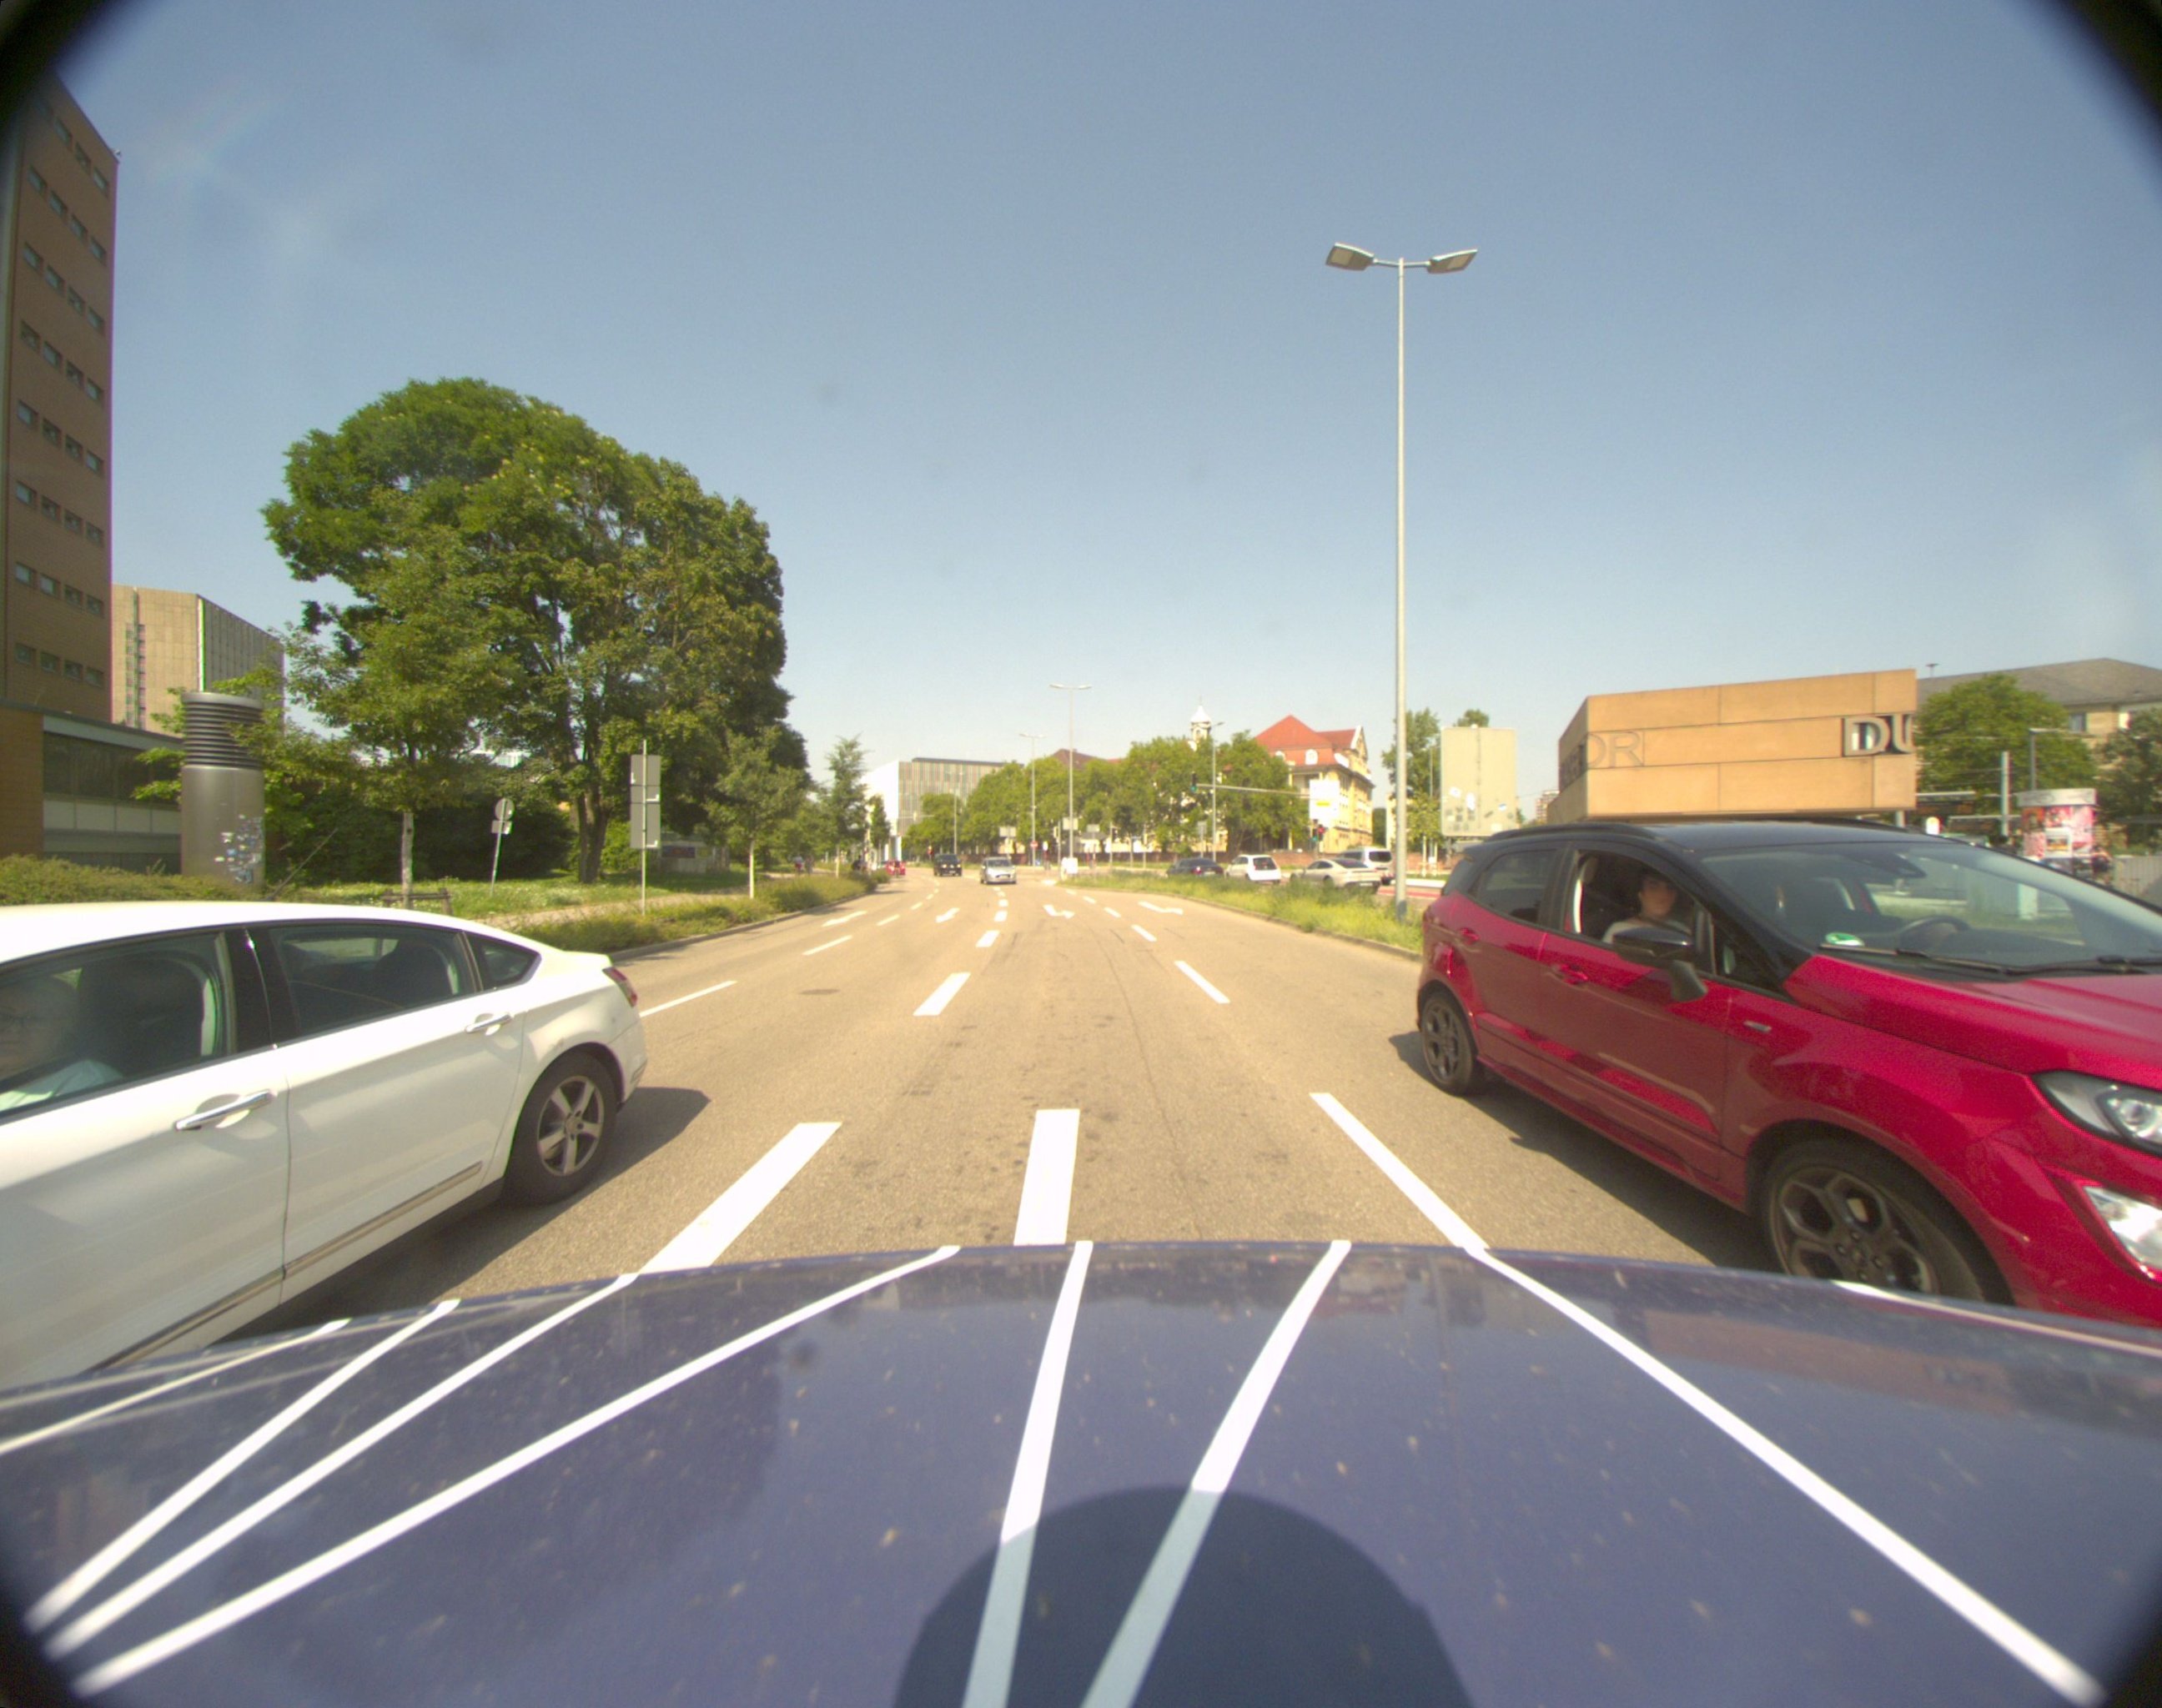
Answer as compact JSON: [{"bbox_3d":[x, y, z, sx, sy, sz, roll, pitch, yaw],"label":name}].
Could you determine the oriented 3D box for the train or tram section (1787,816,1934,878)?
[{"bbox_3d":[49.536,-0.405,48.882,2.698,3.418,13.446,0,0,28],"label":"train or tram section"}]

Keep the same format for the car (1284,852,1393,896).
[{"bbox_3d":[10.127,0.729,30.353,2.001,1.576,4.710,0,0,-12],"label":"car"}]

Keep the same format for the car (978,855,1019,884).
[{"bbox_3d":[-4.905,0.880,44.719,1.661,1.521,4.527,-2,0,-15],"label":"car"}]

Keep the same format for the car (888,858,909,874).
[{"bbox_3d":[-17.644,1.125,73.502,1.652,1.422,3.810,-2,0,-18],"label":"car"}]

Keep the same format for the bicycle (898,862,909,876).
[{"bbox_3d":[-14.979,1.238,64.103,0.594,1.162,2.234,0,0,-4],"label":"bicycle"}]

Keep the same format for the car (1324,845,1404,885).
[{"bbox_3d":[13.897,0.488,37.550,1.869,1.843,3.911,0,1,-12],"label":"car"}]

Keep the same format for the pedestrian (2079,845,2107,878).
[{"bbox_3d":[44.108,0.327,33.134,0.554,1.386,0.534,0,1,28],"label":"pedestrian"}]

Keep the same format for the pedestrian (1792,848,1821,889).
[{"bbox_3d":[26.743,0.526,28.030,0.539,1.488,0.541,0,1,-1],"label":"pedestrian"}]

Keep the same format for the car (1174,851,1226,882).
[{"bbox_3d":[5.718,0.555,36.818,1.526,1.417,3.474,0,0,-8],"label":"car"}]

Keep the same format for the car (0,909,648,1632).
[{"bbox_3d":[-3.291,1.022,1.869,1.773,1.420,4.609,0,0,0],"label":"car"}]

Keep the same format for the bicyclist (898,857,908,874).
[{"bbox_3d":[-14.981,0.932,64.015,0.679,1.392,1.049,0,1,-4],"label":"bicyclist"}]

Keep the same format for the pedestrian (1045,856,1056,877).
[{"bbox_3d":[-1.957,0.773,48.648,0.605,1.291,0.617,-2,1,-4],"label":"pedestrian"}]

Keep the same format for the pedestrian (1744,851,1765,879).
[{"bbox_3d":[26.851,0.432,30.281,0.538,1.093,0.543,0,1,32],"label":"pedestrian"}]

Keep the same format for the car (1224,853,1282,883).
[{"bbox_3d":[8.650,0.675,38.524,1.527,1.470,3.473,0,0,-13],"label":"car"}]

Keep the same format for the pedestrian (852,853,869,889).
[{"bbox_3d":[-11.809,0.916,40.673,0.823,1.892,0.630,-1,1,-12],"label":"pedestrian"}]

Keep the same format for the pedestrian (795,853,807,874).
[{"bbox_3d":[-17.979,0.611,48.856,0.635,1.291,0.486,-3,1,-17],"label":"pedestrian"}]

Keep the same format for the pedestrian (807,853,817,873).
[{"bbox_3d":[-17.377,0.573,49.075,0.577,1.291,0.437,-3,1,-19],"label":"pedestrian"}]

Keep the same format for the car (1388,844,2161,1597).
[{"bbox_3d":[2.999,0.777,3.515,1.694,1.577,3.845,-2,0,2],"label":"car"}]

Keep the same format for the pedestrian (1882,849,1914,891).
[{"bbox_3d":[28.697,0.556,26.684,0.539,1.488,0.541,0,1,-1],"label":"pedestrian"}]

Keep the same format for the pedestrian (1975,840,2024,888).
[{"bbox_3d":[28.374,0.304,23.491,0.771,1.488,0.606,0,1,-1],"label":"pedestrian"}]

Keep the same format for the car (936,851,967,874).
[{"bbox_3d":[-11.314,0.736,66.165,1.893,1.908,4.526,-2,0,-20],"label":"car"}]

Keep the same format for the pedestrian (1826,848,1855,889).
[{"bbox_3d":[27.916,0.528,27.928,0.539,1.488,0.541,0,1,-1],"label":"pedestrian"}]
